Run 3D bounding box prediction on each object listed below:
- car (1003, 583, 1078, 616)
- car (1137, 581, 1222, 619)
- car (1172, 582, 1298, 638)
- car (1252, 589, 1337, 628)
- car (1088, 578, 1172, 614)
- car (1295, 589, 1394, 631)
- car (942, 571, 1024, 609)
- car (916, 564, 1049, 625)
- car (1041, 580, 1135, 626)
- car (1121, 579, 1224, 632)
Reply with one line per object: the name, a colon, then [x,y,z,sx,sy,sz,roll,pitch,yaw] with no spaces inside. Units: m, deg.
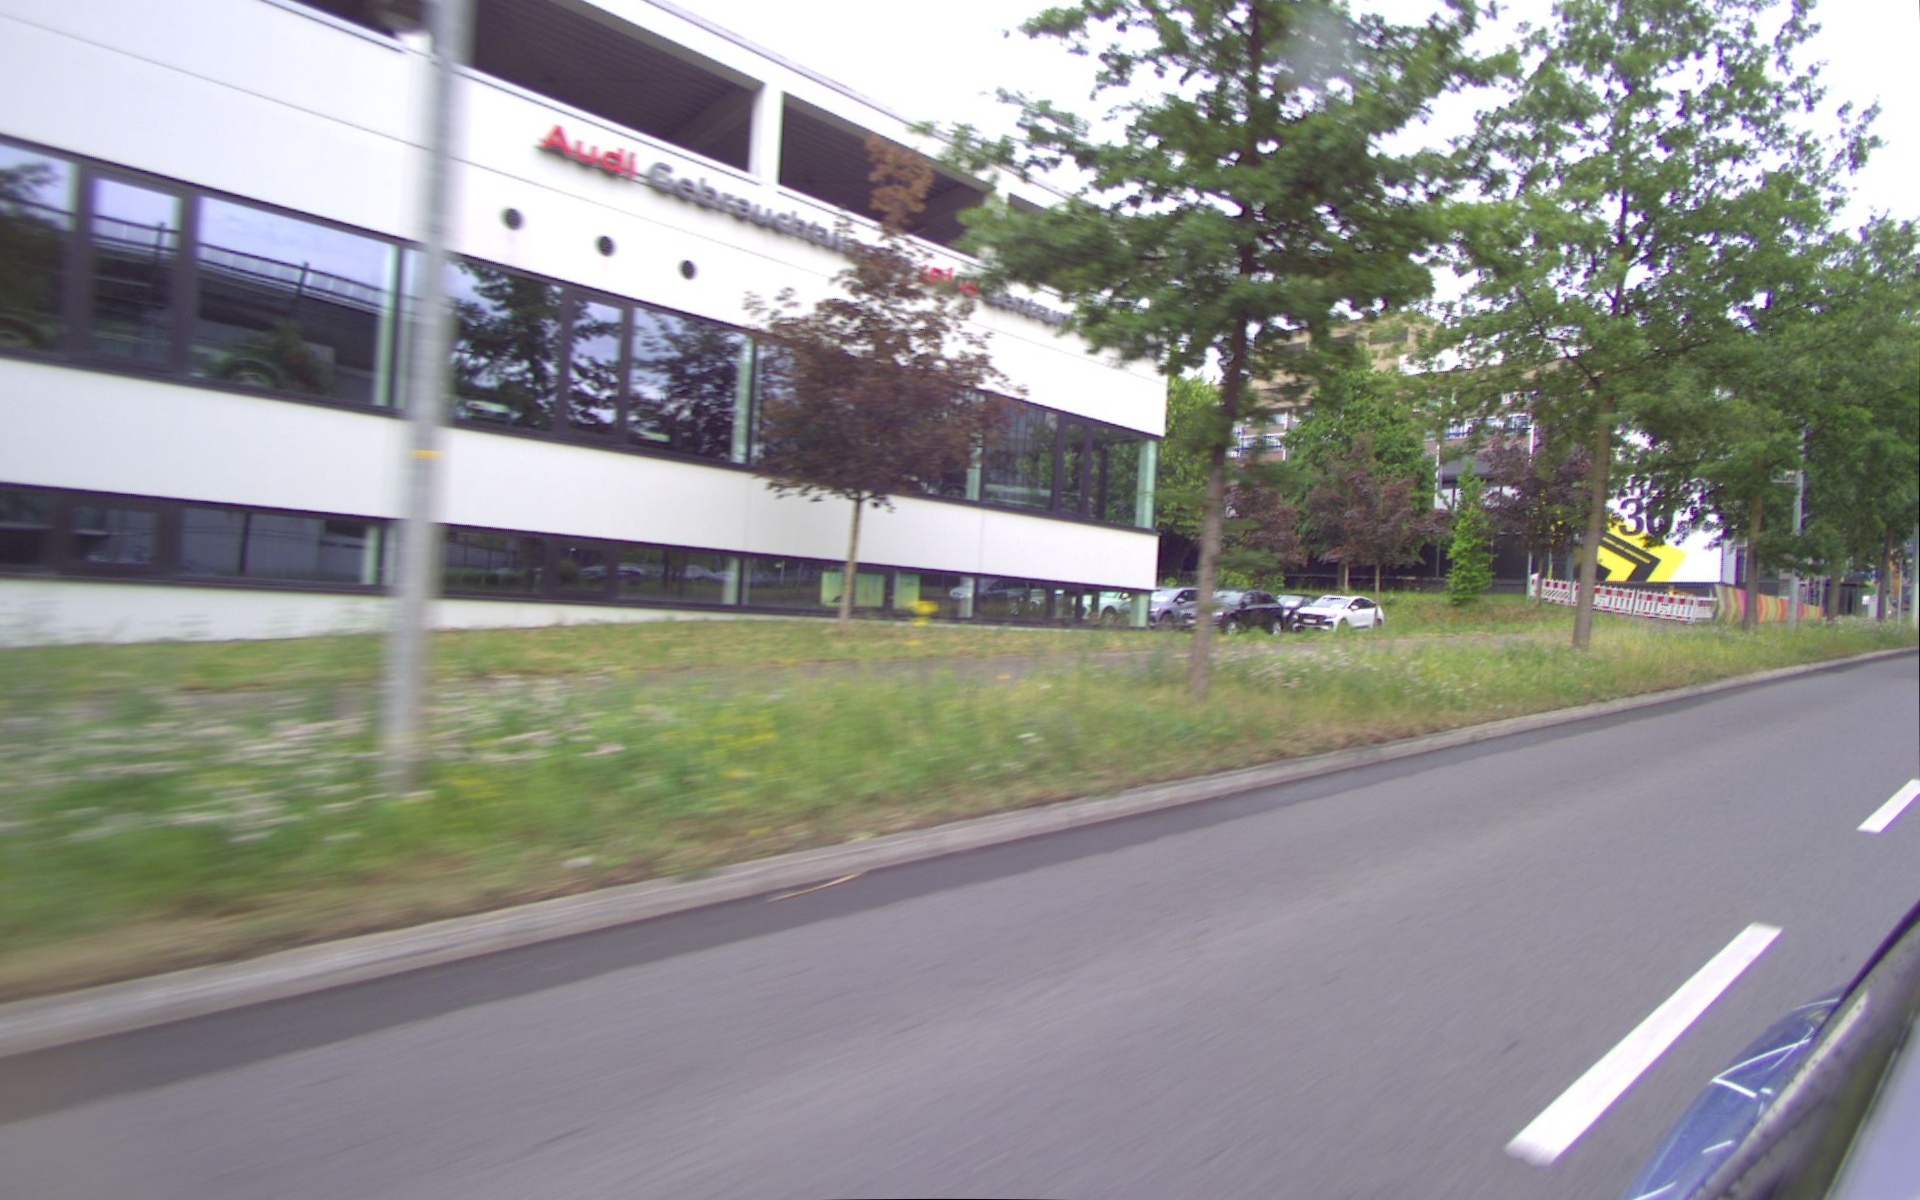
car: [3.943,-0.042,49.197,3.581,1.503,1.699,-1,0,-43]
car: [9.241,-0.013,42.547,3.579,1.503,1.700,-1,0,-41]
car: [9.299,0.273,34.038,4.510,1.696,1.907,-1,3,-41]
car: [13.605,0.329,41.082,3.579,1.503,1.700,-1,0,-41]
car: [7.363,-0.174,43.630,3.579,1.503,1.700,-1,0,-41]
car: [14.742,0.344,38.732,4.384,1.503,1.700,-1,0,-41]
car: [1.075,-0.447,46.449,3.579,1.697,1.700,-1,0,-41]
car: [0.755,-0.201,35.748,4.443,1.697,1.704,5,0,-3]
car: [5.060,0.102,39.772,3.579,1.697,1.700,-1,-1,-41]
car: [7.489,0.155,35.598,3.579,1.696,1.701,-1,4,-41]
